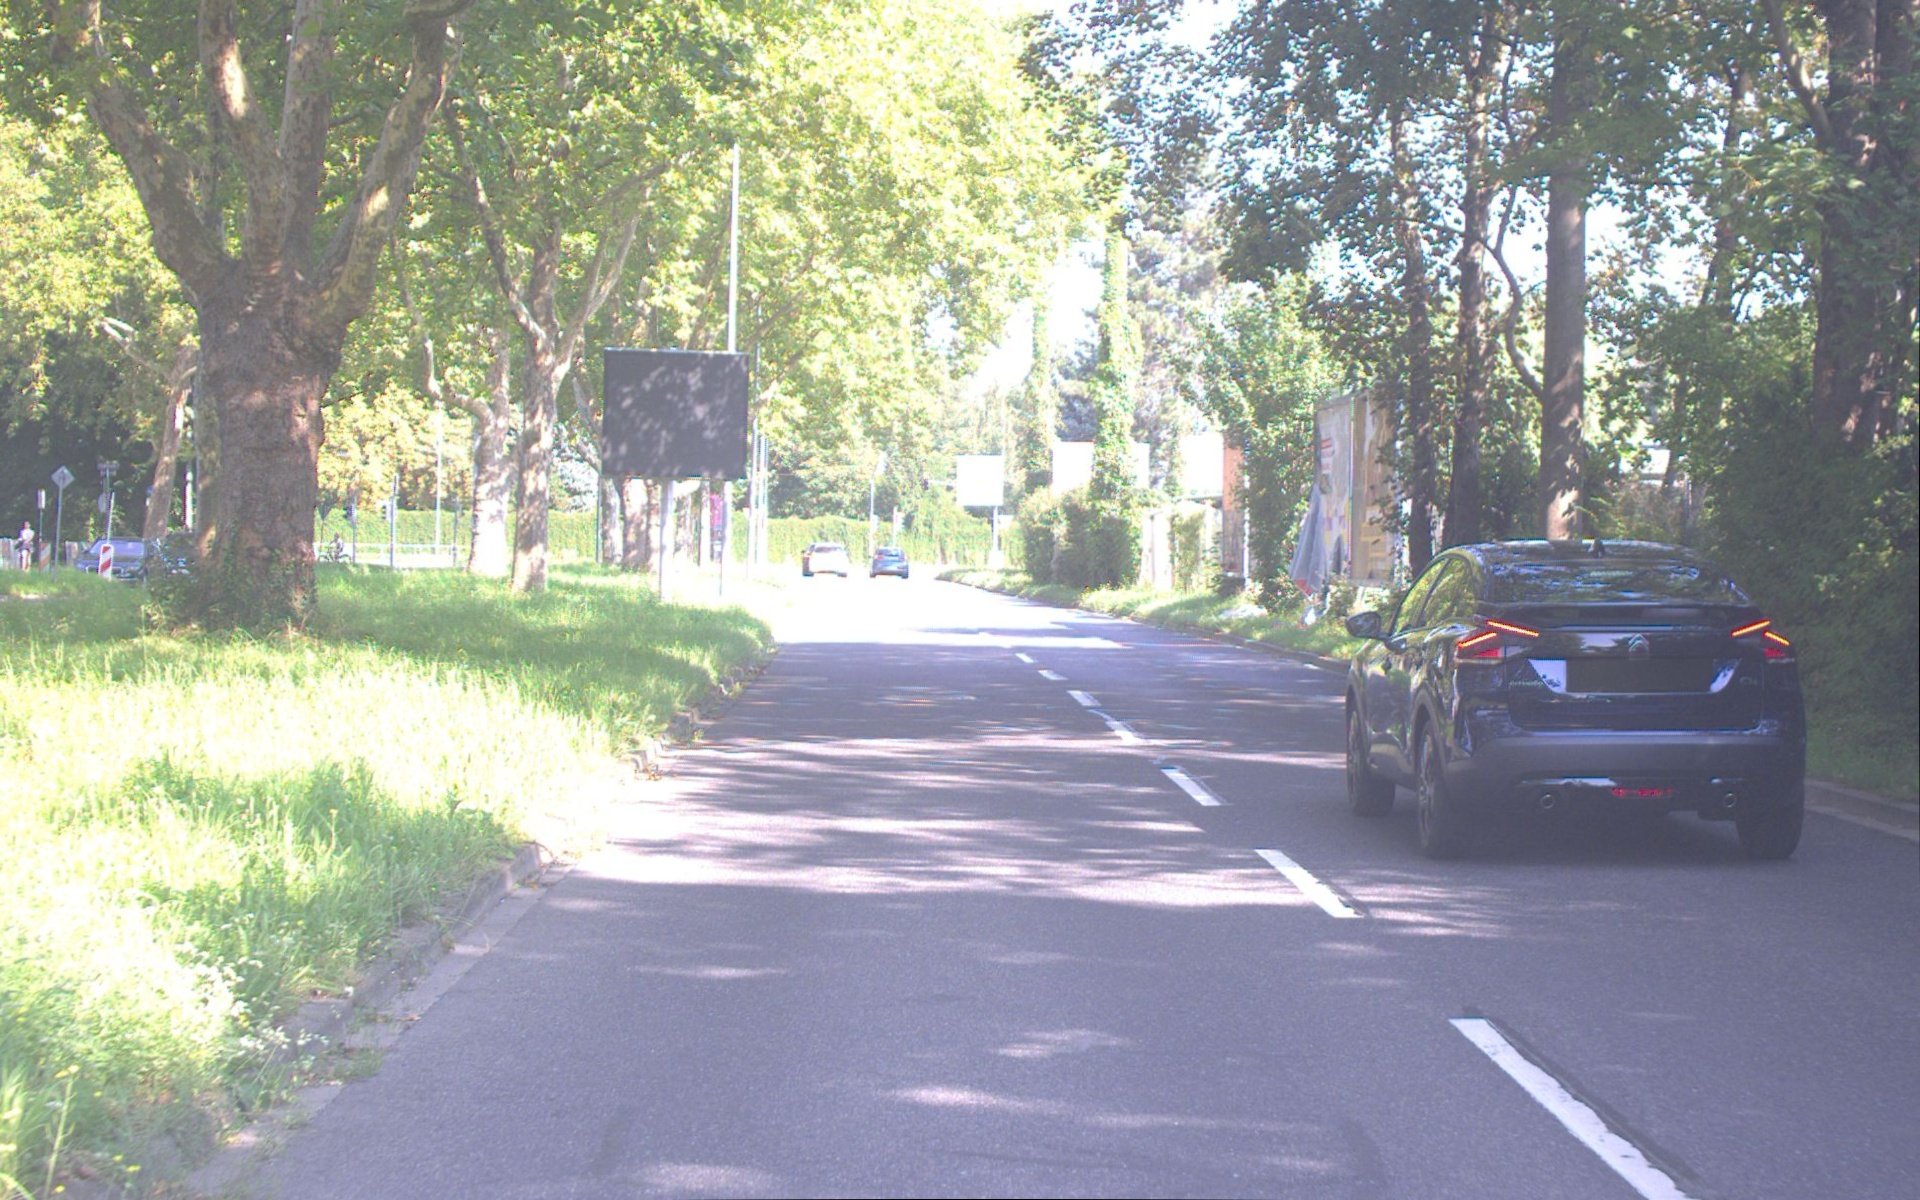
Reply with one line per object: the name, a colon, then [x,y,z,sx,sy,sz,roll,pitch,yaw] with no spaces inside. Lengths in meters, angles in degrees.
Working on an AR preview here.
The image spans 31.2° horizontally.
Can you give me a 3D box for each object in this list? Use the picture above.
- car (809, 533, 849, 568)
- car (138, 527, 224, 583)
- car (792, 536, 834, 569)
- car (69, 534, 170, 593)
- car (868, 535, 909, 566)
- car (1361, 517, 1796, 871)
car: [-5.809,-2.190,152.765,1.687,1.457,4.000,1,1,-2]
car: [-22.513,-1.301,99.508,1.699,1.562,4.000,1,1,-2]
car: [-6.925,-2.231,161.974,1.687,1.457,3.849,1,1,2]
car: [-22.258,-0.980,91.129,1.699,1.503,4.541,1,1,-2]
car: [-3.386,-2.322,162.515,1.797,1.396,4.001,1,1,-3]
car: [3.032,0.403,17.619,1.645,1.583,4.254,0,0,3]
